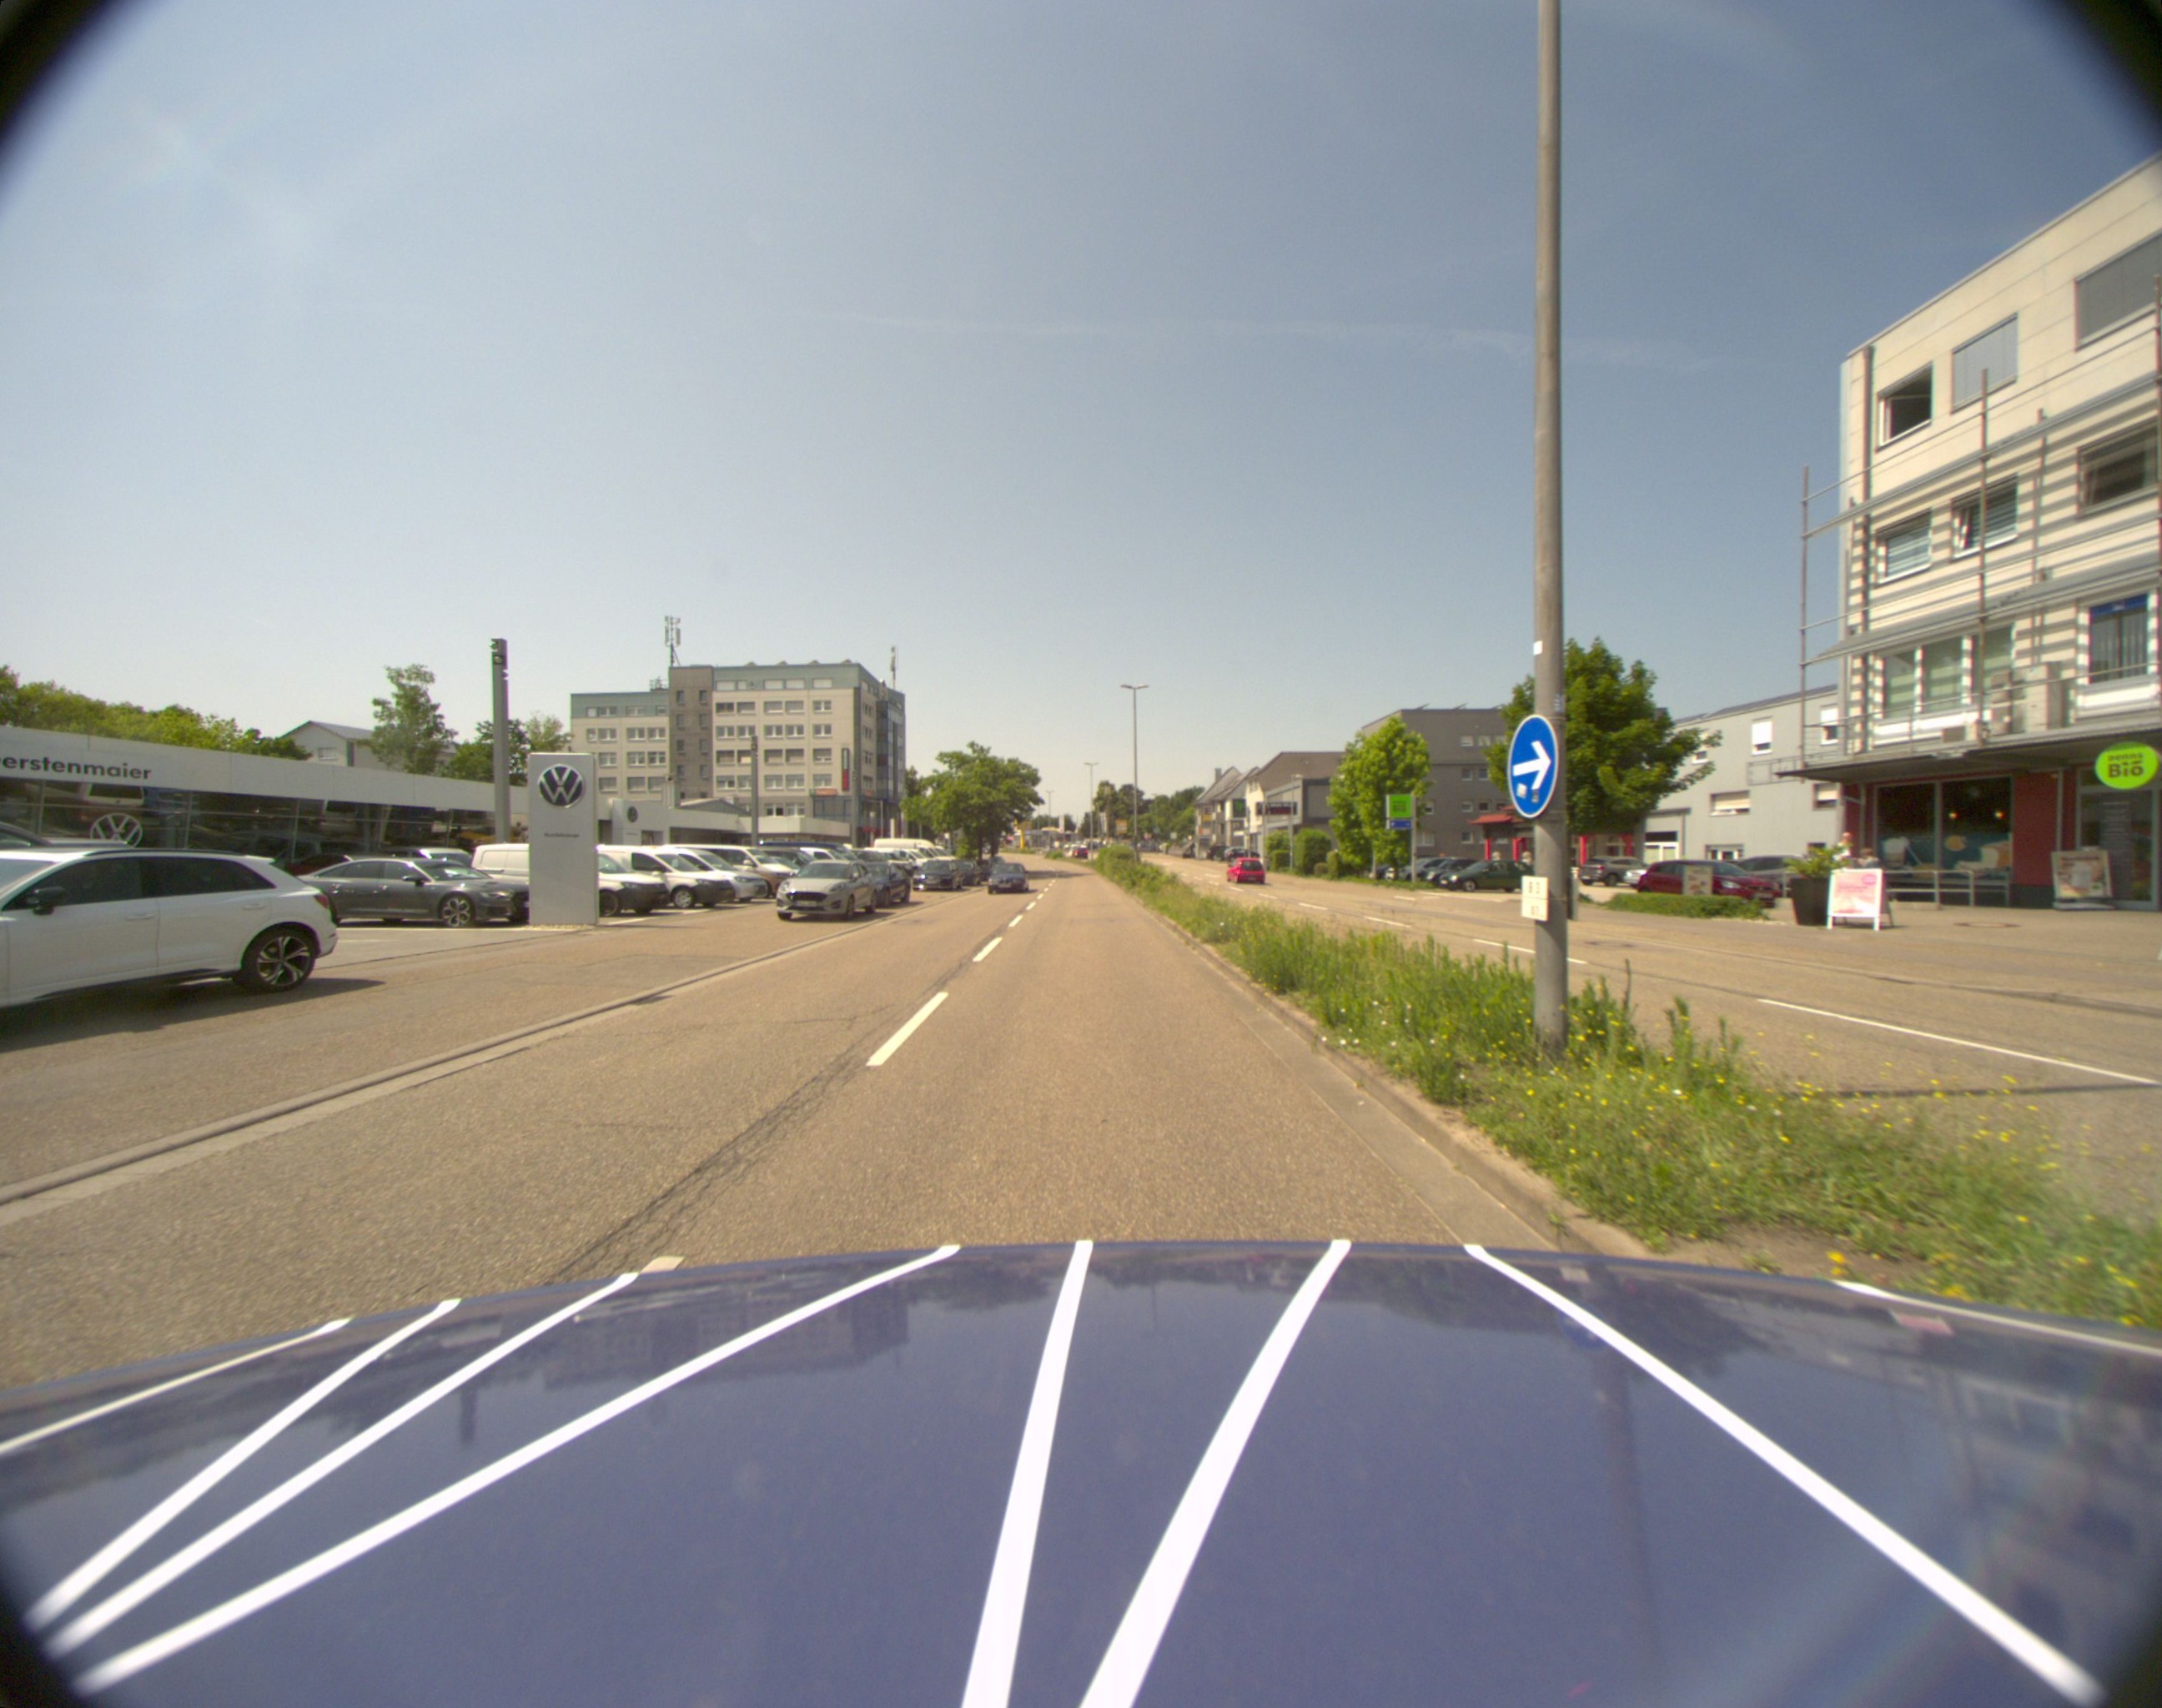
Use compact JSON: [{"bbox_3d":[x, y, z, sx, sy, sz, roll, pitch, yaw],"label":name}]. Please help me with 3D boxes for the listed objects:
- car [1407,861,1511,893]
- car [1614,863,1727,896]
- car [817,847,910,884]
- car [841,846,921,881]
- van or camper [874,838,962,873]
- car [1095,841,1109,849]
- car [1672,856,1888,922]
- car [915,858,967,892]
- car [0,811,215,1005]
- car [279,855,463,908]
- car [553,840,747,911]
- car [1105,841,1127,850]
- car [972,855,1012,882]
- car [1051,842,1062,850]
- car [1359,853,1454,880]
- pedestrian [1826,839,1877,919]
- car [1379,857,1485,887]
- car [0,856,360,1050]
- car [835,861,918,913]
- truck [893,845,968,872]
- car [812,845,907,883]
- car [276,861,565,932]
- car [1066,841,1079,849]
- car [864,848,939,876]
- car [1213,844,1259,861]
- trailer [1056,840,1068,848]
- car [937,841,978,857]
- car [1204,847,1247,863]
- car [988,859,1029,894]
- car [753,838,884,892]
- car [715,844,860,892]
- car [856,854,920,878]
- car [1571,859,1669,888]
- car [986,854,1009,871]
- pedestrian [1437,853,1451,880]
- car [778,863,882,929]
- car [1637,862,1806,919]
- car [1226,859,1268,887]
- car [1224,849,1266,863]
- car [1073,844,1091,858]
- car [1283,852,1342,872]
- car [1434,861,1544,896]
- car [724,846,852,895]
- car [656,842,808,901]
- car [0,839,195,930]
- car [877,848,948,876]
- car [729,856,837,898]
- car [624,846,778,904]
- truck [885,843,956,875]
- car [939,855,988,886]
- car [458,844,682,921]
[{"bbox_3d":[17.275,1.039,34.843,3.848,1.326,1.859,1,0,-1],"label":"car"},{"bbox_3d":[29.070,1.250,37.533,3.985,1.459,2.072,2,0,-2],"label":"car"},{"bbox_3d":[-13.280,0.659,46.660,5.077,2.085,2.040,2,1,-1],"label":"car"},{"bbox_3d":[-13.039,0.610,49.728,4.520,2.002,2.197,2,2,1],"label":"car"},{"bbox_3d":[-13.601,0.132,63.707,6.814,2.881,2.275,0,1,-1],"label":"van or camper"},{"bbox_3d":[4.440,-1.906,161.482,1.847,1.714,4.006,-1,3,-19],"label":"car"},{"bbox_3d":[21.032,0.953,23.267,1.764,1.724,5.165,2,0,-1],"label":"car"},{"bbox_3d":[-6.795,0.956,37.339,1.860,1.472,5.154,-1,0,-3],"label":"car"},{"bbox_3d":[-12.214,0.581,7.231,1.999,2.011,5.159,-1,0,-1],"label":"car"},{"bbox_3d":[-21.853,0.823,23.493,3.996,1.562,1.859,0,1,2],"label":"car"},{"bbox_3d":[-12.560,0.611,22.360,4.568,1.877,1.857,2,0,-3],"label":"car"},{"bbox_3d":[7.298,-1.818,159.085,4.300,1.891,1.831,1,3,18],"label":"car"},{"bbox_3d":[-5.876,0.912,49.821,1.688,1.428,4.429,-1,3,-19],"label":"car"},{"bbox_3d":[-4.689,-1.527,143.817,1.786,1.620,4.336,-1,1,-5],"label":"car"},{"bbox_3d":[17.139,0.622,40.146,4.160,1.334,2.042,1,0,-2],"label":"car"},{"bbox_3d":[18.183,0.575,17.934,0.677,1.855,0.498,0,1,0],"label":"pedestrian"},{"bbox_3d":[17.183,0.865,37.335,4.234,1.341,1.980,1,0,-1],"label":"car"},{"bbox_3d":[-9.761,0.818,7.105,1.671,1.586,4.612,1,0,0],"label":"car"},{"bbox_3d":[-6.861,1.050,25.993,1.718,1.539,4.789,0,1,-2],"label":"car"},{"bbox_3d":[-13.469,0.399,68.260,6.260,2.323,2.368,1,0,1],"label":"truck"},{"bbox_3d":[-12.816,0.582,44.213,4.912,2.102,2.129,1,0,-1],"label":"car"},{"bbox_3d":[-14.258,0.882,16.619,4.544,1.437,2.000,0,0,0],"label":"car"},{"bbox_3d":[-1.936,-1.954,167.833,1.754,1.501,3.823,-1,2,17],"label":"car"},{"bbox_3d":[-13.025,0.558,55.372,4.925,1.960,2.141,1,1,0],"label":"car"},{"bbox_3d":[17.467,-0.171,85.752,4.620,1.488,1.751,-4,1,-8],"label":"car"},{"bbox_3d":[-4.363,-2.174,171.008,1.689,1.694,2.438,0,2,29],"label":"trailer"},{"bbox_3d":[-15.568,-0.658,95.746,4.746,1.704,1.995,-3,3,-25],"label":"car"},{"bbox_3d":[16.897,0.094,88.777,4.617,1.618,1.853,-4,1,-1],"label":"car"},{"bbox_3d":[-3.331,1.021,35.304,1.698,1.365,3.997,-3,1,-5],"label":"car"},{"bbox_3d":[-13.428,0.529,39.086,5.857,2.510,2.204,-1,2,2],"label":"car"},{"bbox_3d":[-13.832,0.634,36.070,5.908,2.002,2.259,-2,1,1],"label":"car"},{"bbox_3d":[-13.340,0.851,52.776,4.036,1.462,1.913,2,0,-7],"label":"car"},{"bbox_3d":[28.941,1.026,40.886,3.983,1.459,1.963,0,0,-5],"label":"car"},{"bbox_3d":[-7.909,0.799,72.272,1.802,1.398,4.318,-2,1,-2],"label":"car"},{"bbox_3d":[23.066,0.781,48.277,0.547,1.648,0.625,-2,3,-1],"label":"pedestrian"},{"bbox_3d":[-6.657,1.045,20.617,1.737,1.543,4.178,-1,0,-5],"label":"car"},{"bbox_3d":[18.589,1.000,22.304,1.663,1.459,3.797,2,0,-1],"label":"car"},{"bbox_3d":[9.325,1.025,42.956,1.635,1.416,3.450,1,1,0],"label":"car"},{"bbox_3d":[17.909,0.234,83.112,4.068,1.512,1.999,0,1,-3],"label":"car"},{"bbox_3d":[0.115,-0.397,105.859,1.914,1.741,4.755,-2,2,-5],"label":"car"},{"bbox_3d":[17.558,0.608,57.761,3.999,1.451,1.574,0,2,-5],"label":"car"},{"bbox_3d":[17.160,0.995,32.058,3.667,1.356,1.780,1,0,1],"label":"car"},{"bbox_3d":[-12.775,0.734,33.375,4.799,1.972,2.004,-1,-1,0],"label":"car"},{"bbox_3d":[-12.800,0.623,28.082,4.652,2.002,1.960,1,0,-2],"label":"car"},{"bbox_3d":[-22.297,0.597,16.628,4.369,1.813,2.004,0,0,13],"label":"car"},{"bbox_3d":[-12.853,0.619,58.076,4.961,2.101,2.159,0,1,-1],"label":"car"},{"bbox_3d":[-12.001,0.900,30.770,3.638,1.561,1.717,-1,1,6],"label":"car"},{"bbox_3d":[-12.541,0.660,25.259,4.161,1.771,1.880,1,2,-1],"label":"car"},{"bbox_3d":[-12.811,0.363,60.876,5.260,2.422,2.111,1,1,1],"label":"truck"},{"bbox_3d":[-6.591,0.893,43.296,1.966,1.521,5.160,2,0,0],"label":"car"},{"bbox_3d":[-12.976,0.686,19.504,4.424,1.871,1.909,0,1,-1],"label":"car"}]
